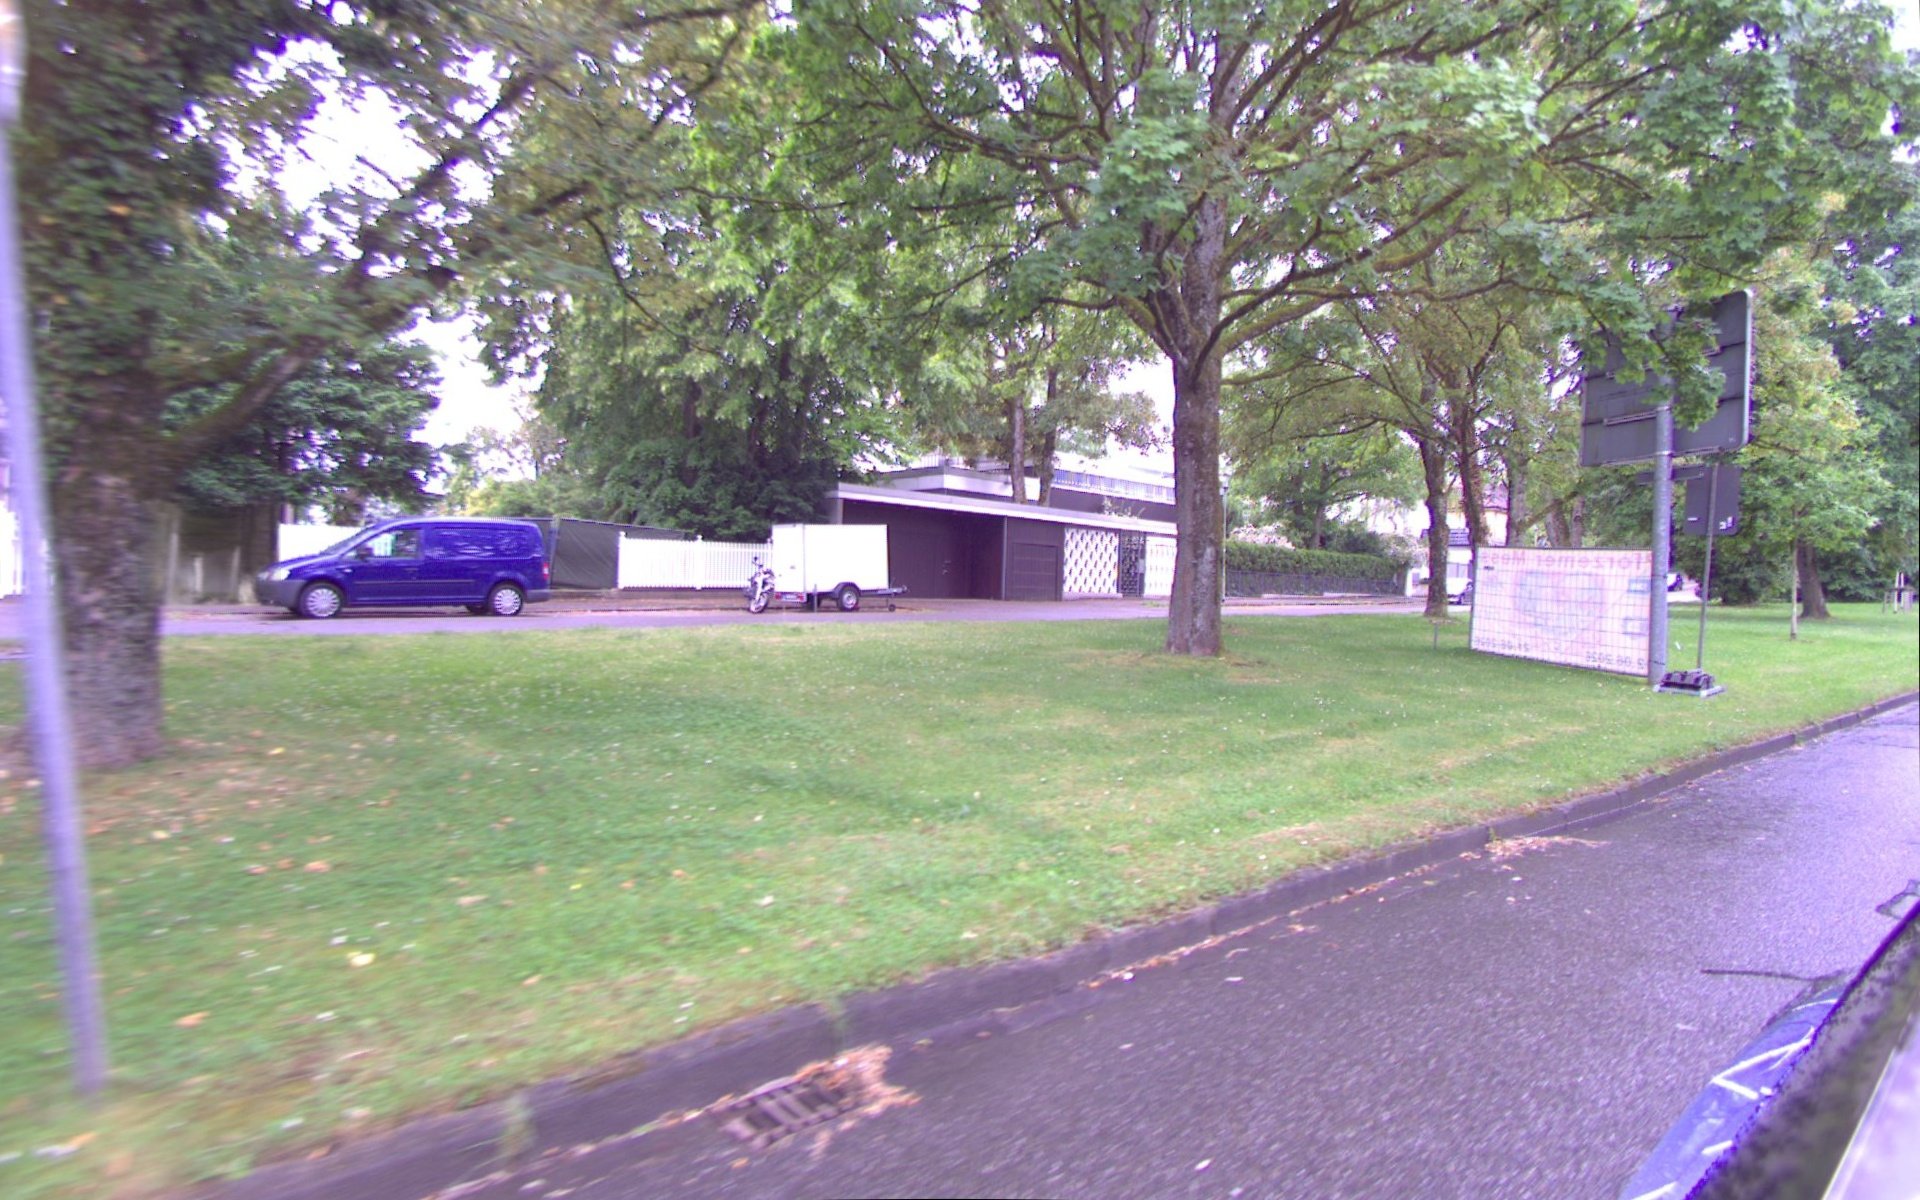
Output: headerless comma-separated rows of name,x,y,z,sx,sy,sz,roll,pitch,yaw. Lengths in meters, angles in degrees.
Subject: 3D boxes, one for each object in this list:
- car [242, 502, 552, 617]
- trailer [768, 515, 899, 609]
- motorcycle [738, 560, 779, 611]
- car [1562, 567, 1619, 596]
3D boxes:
car,-10.092,-0.676,18.363,4.569,1.831,1.945,1,2,-43
trailer,-3.069,-0.924,24.852,1.437,2.181,2.903,3,3,45
motorcycle,-4.653,-0.346,23.304,0.645,1.106,1.896,1,1,-20
car,43.664,-1.306,70.046,4.985,1.901,2.162,-2,4,-43
